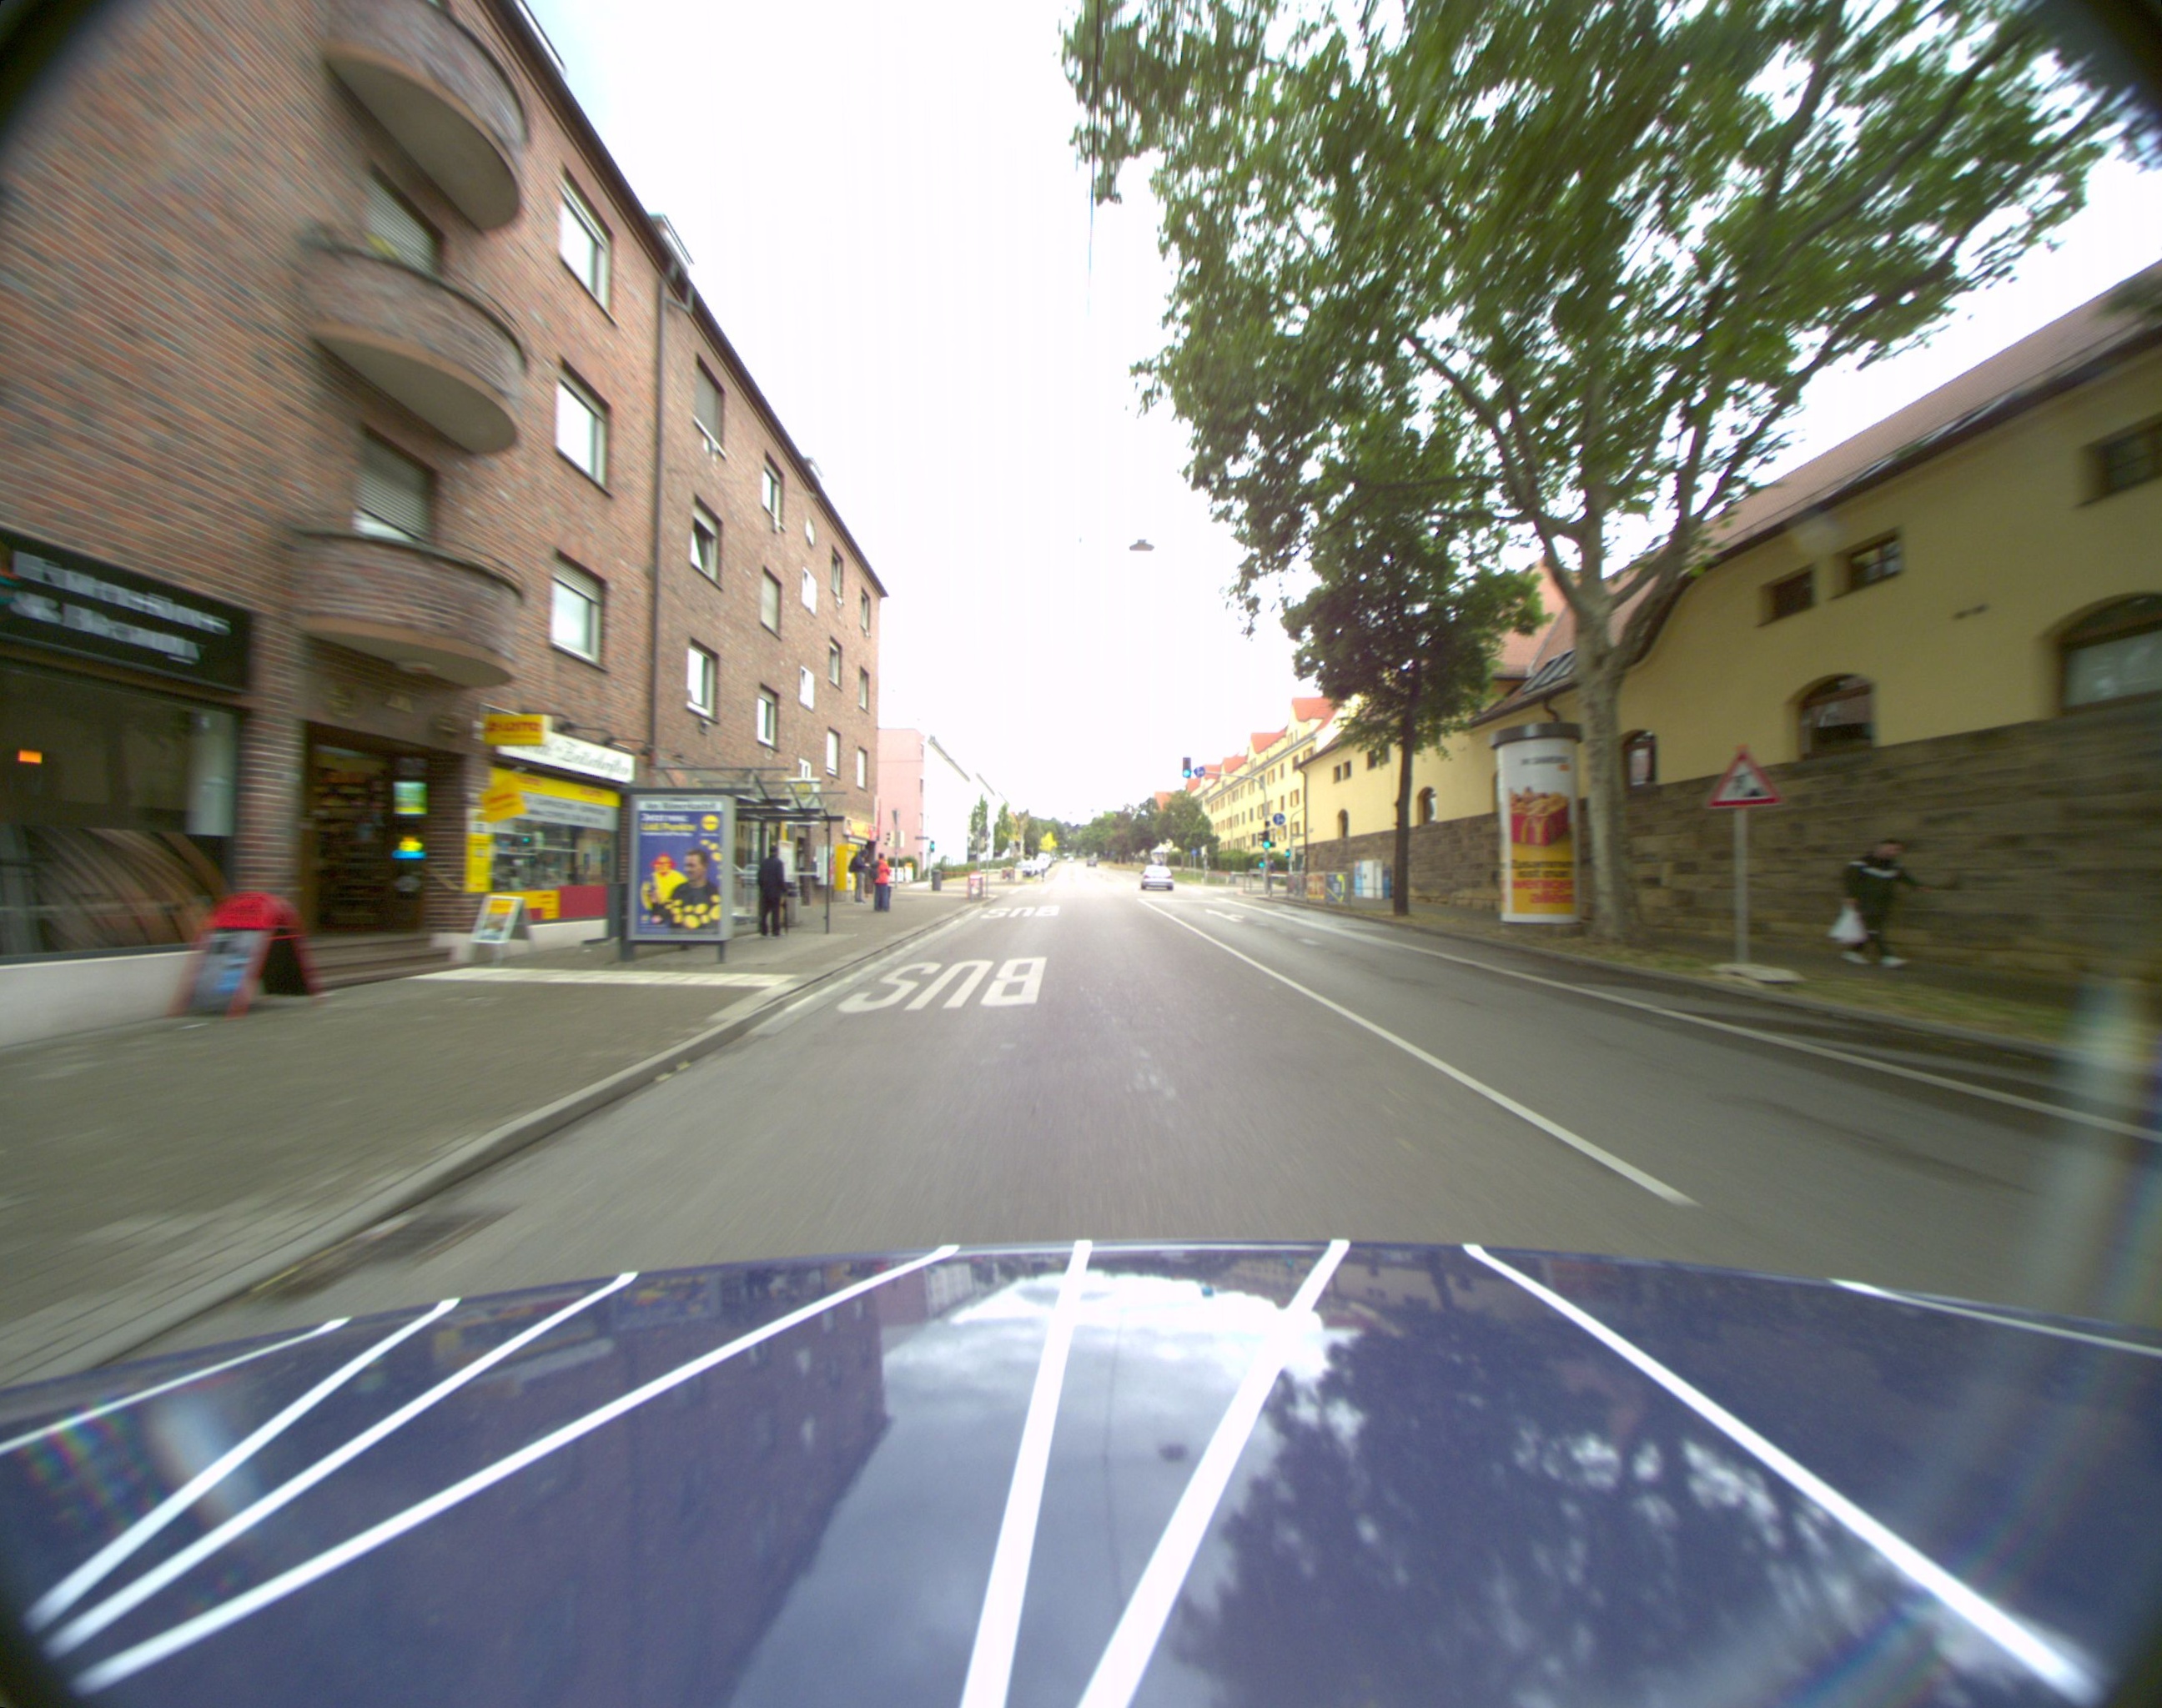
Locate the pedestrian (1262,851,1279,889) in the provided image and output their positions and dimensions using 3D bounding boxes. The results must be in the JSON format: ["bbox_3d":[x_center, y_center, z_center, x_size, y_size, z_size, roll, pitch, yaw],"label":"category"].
[{"bbox_3d":[8.865,0.729,35.582,0.565,1.766,0.842,0,0,-1],"label":"pedestrian"}]

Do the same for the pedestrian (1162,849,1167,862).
[{"bbox_3d":[11.564,0.190,105.156,0.599,1.717,0.861,-1,1,2],"label":"pedestrian"}]

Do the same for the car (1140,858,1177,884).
[{"bbox_3d":[4.341,0.916,43.080,1.689,1.268,4.095,3,1,1],"label":"car"}]

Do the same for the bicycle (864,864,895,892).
[{"bbox_3d":[-9.164,1.069,34.666,0.762,1.186,2.391,0,0,-1],"label":"bicycle"}]

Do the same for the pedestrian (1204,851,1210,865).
[{"bbox_3d":[15.348,0.485,92.577,0.642,1.609,0.618,0,0,-2],"label":"pedestrian"}]

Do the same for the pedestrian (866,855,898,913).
[{"bbox_3d":[-5.620,0.835,21.494,0.565,1.627,0.682,0,1,20],"label":"pedestrian"}]

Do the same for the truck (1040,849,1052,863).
[{"bbox_3d":[-6.302,0.379,136.554,2.058,2.550,5.688,0,0,-2],"label":"truck"}]

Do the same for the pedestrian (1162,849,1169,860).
[{"bbox_3d":[11.915,0.019,107.612,0.901,1.501,0.806,-1,0,0],"label":"pedestrian"}]

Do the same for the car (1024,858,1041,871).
[{"bbox_3d":[-5.673,1.201,89.681,1.750,1.459,4.948,-1,0,-2],"label":"car"}]

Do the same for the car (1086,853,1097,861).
[{"bbox_3d":[1.972,0.579,144.514,1.761,1.464,4.305,3,0,-2],"label":"car"}]

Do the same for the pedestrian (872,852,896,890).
[{"bbox_3d":[-8.942,0.765,34.524,0.790,1.646,0.772,2,0,0],"label":"pedestrian"}]

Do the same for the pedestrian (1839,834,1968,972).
[{"bbox_3d":[11.060,0.637,10.249,0.779,1.784,0.875,0,0,-1],"label":"pedestrian"}]

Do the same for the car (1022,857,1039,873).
[{"bbox_3d":[-5.515,1.182,83.188,1.663,1.706,4.551,-1,0,-1],"label":"car"}]

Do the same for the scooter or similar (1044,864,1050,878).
[{"bbox_3d":[-2.914,1.460,65.585,0.492,1.156,2.074,0,0,-1],"label":"scooter or similar"}]

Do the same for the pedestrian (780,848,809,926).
[{"bbox_3d":[-6.568,0.748,17.437,0.480,1.755,0.458,0,1,-1],"label":"pedestrian"}]

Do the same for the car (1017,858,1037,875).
[{"bbox_3d":[-5.470,1.212,77.307,1.739,1.579,4.571,-1,1,-2],"label":"car"}]

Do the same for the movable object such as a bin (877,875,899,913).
[{"bbox_3d":[-5.539,1.134,21.762,0.453,1.050,0.411,0,1,19],"label":"movable object such as a bin"}]

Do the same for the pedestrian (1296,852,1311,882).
[{"bbox_3d":[12.006,0.692,41.028,0.565,1.557,0.842,0,0,-2],"label":"pedestrian"}]

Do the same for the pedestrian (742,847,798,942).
[{"bbox_3d":[-5.743,0.730,14.054,0.671,1.717,0.764,0,0,5],"label":"pedestrian"}]

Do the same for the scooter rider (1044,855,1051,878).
[{"bbox_3d":[-2.908,1.057,65.648,0.627,2.002,0.757,0,0,-2],"label":"scooter rider"}]

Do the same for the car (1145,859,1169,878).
[{"bbox_3d":[5.842,1.101,58.634,1.706,1.406,4.193,0,0,4],"label":"car"}]

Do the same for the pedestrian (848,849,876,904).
[{"bbox_3d":[-7.032,0.726,24.423,0.648,1.739,0.778,0,0,5],"label":"pedestrian"}]

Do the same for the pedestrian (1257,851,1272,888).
[{"bbox_3d":[8.912,0.753,36.884,0.565,1.766,0.717,0,0,-1],"label":"pedestrian"}]
